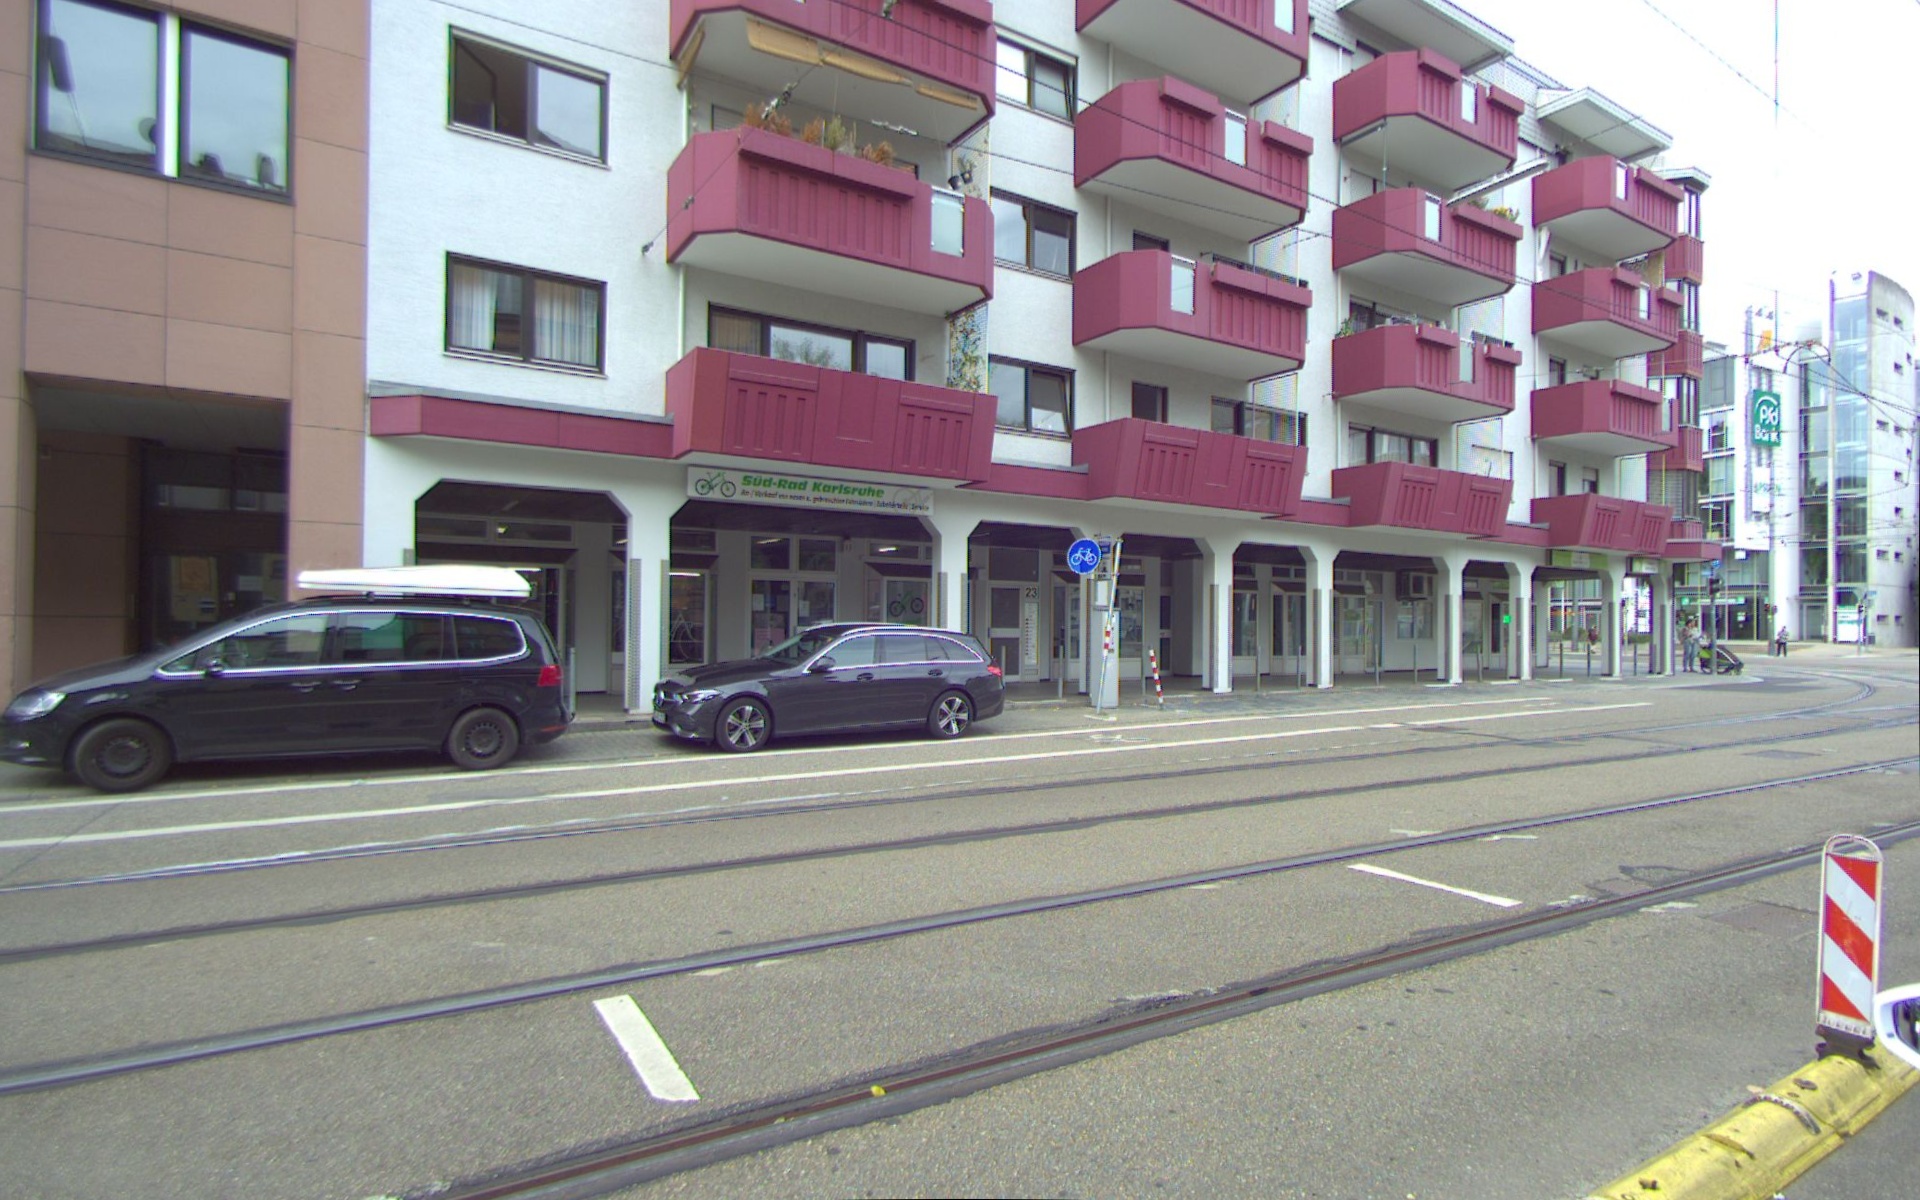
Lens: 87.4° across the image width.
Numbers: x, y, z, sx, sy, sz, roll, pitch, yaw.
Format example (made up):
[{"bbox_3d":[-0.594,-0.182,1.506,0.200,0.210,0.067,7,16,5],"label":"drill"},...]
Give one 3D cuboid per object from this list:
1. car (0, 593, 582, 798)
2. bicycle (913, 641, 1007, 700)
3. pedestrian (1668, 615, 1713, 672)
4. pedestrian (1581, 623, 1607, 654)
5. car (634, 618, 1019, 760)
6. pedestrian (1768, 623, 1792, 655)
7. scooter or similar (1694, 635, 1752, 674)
[{"bbox_3d":[-6.466,0.821,10.239,4.645,1.669,1.797,1,1,-32],"label":"car"},{"bbox_3d":[0.020,1.198,17.340,1.636,0.966,0.560,1,-1,-39],"label":"bicycle"},{"bbox_3d":[23.427,1.382,32.222,0.803,1.766,0.942,1,-1,-33],"label":"pedestrian"},{"bbox_3d":[35.225,2.130,55.836,0.753,1.693,0.935,1,-1,-17],"label":"pedestrian"},{"bbox_3d":[-1.643,1.032,13.051,4.645,1.500,1.745,1,1,-32],"label":"car"},{"bbox_3d":[49.528,2.340,60.701,0.754,1.889,0.833,1,-1,-17],"label":"pedestrian"},{"bbox_3d":[23.912,1.701,31.484,0.936,1.143,1.189,1,0,-32],"label":"scooter or similar"}]
